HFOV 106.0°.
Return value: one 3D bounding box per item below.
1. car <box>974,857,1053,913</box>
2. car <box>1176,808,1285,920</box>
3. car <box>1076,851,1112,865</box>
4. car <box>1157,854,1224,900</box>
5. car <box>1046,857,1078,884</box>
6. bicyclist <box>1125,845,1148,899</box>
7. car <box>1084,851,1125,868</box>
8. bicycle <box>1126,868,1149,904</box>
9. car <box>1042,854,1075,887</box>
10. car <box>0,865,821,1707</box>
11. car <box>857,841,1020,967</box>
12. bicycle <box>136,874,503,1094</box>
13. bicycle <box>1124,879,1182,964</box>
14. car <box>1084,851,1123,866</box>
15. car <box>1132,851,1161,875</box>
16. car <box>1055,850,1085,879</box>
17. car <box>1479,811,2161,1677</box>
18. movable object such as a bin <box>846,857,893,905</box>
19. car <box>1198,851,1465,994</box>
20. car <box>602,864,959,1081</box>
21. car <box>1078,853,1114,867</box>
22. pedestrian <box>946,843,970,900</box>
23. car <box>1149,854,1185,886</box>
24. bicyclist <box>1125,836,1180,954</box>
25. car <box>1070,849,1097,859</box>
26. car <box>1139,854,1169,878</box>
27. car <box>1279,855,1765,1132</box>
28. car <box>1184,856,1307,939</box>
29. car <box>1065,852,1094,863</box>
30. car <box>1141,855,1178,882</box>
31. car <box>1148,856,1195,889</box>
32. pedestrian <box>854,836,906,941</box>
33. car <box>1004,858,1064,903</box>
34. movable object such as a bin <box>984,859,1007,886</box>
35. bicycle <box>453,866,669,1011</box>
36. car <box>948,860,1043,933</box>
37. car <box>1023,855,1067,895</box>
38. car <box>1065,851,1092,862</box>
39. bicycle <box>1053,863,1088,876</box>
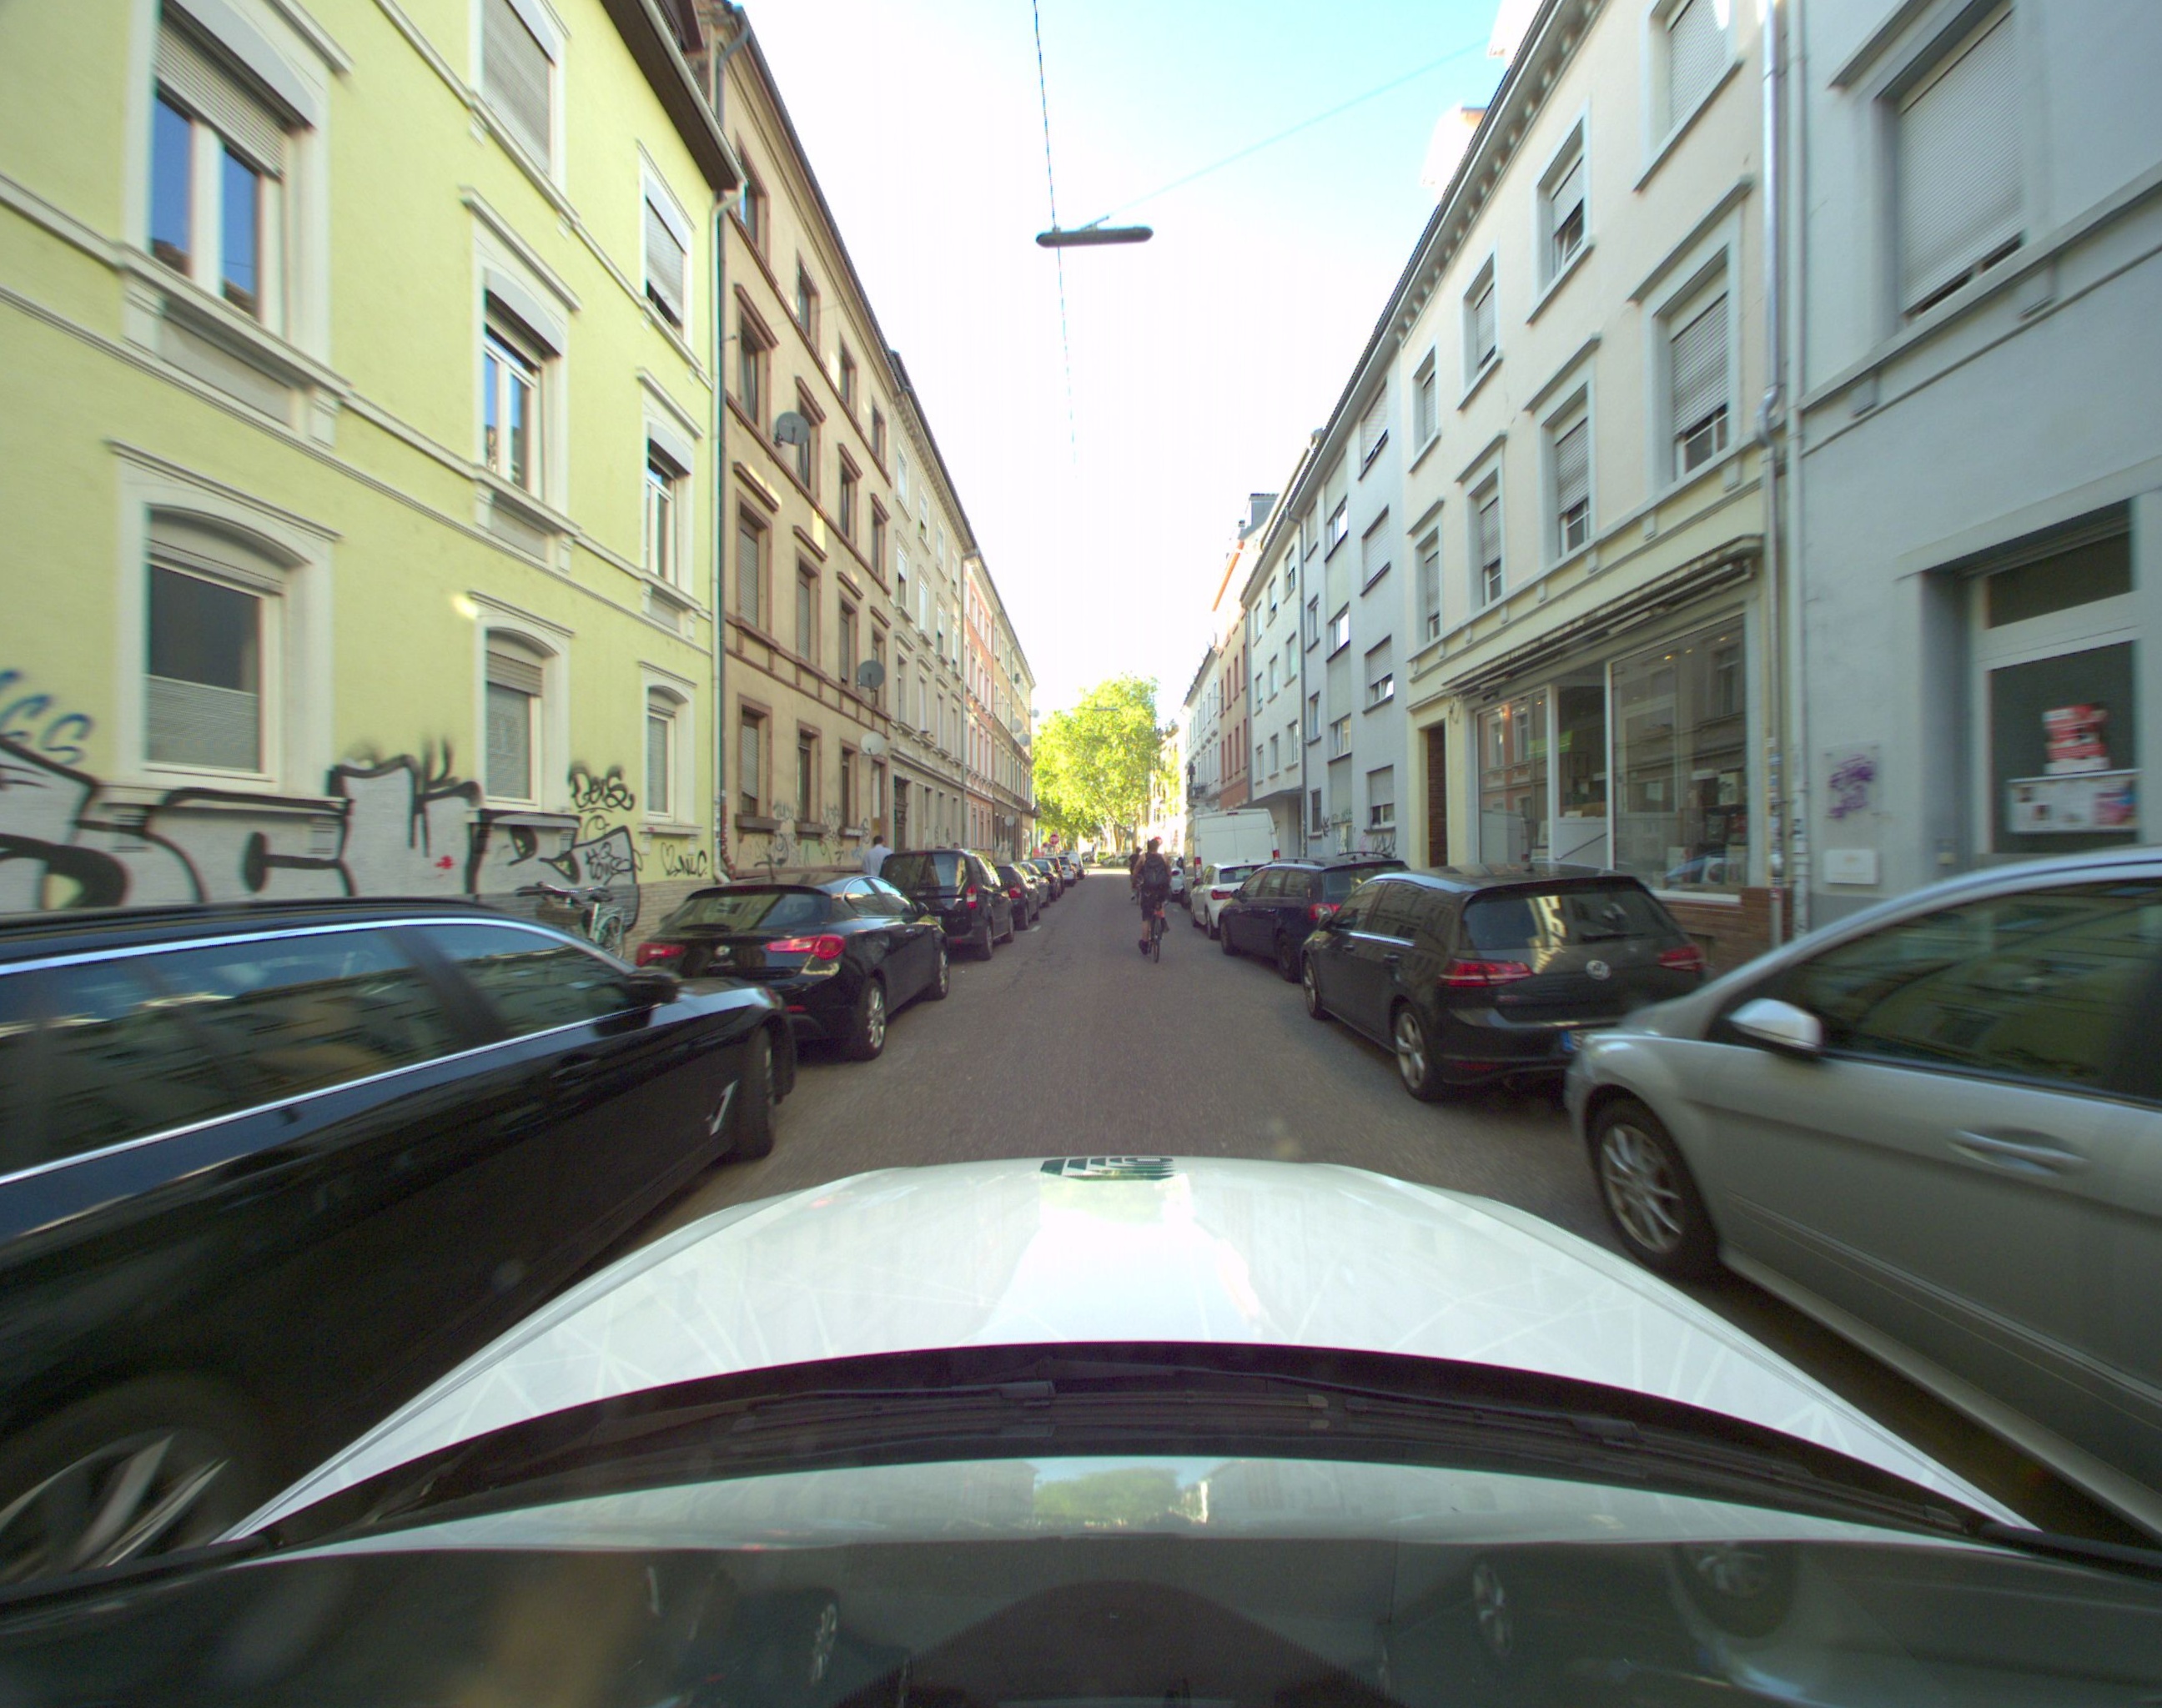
[{"bbox_3d":[-1.867,0.832,23.586,1.666,1.430,3.893,-1,0,4],"label":"car"},{"bbox_3d":[3.811,0.232,21.888,2.194,2.551,6.042,-1,0,4],"label":"car"},{"bbox_3d":[1.629,0.533,104.002,4.458,1.696,1.864,-1,0,-3],"label":"car"},{"bbox_3d":[3.749,0.752,28.422,1.726,1.470,4.020,-1,0,-1],"label":"car"},{"bbox_3d":[-1.021,0.869,44.740,1.547,1.399,3.669,-1,0,1],"label":"car"},{"bbox_3d":[1.735,0.557,25.538,0.667,1.658,0.877,-1,0,2],"label":"bicyclist"},{"bbox_3d":[2.644,0.609,92.622,4.458,1.759,1.864,-1,0,-3],"label":"car"},{"bbox_3d":[1.757,0.990,25.579,0.661,1.037,1.959,-1,0,2],"label":"bicycle"},{"bbox_3d":[-1.119,0.801,40.976,1.540,1.550,3.463,-1,0,-1],"label":"car"},{"bbox_3d":[-2.525,0.825,2.610,1.856,1.440,4.644,-1,0,0],"label":"car"},{"bbox_3d":[-2.192,0.719,13.632,1.794,1.698,4.002,-3,0,2],"label":"car"},{"bbox_3d":[-5.335,0.807,5.954,0.671,1.271,2.087,0,0,2],"label":"bicycle"},{"bbox_3d":[1.051,0.964,12.305,0.737,1.100,2.043,1,0,2],"label":"bicycle"},{"bbox_3d":[2.669,0.534,97.383,4.458,1.696,1.864,-1,0,-3],"label":"car"},{"bbox_3d":[5.091,0.704,64.000,1.887,1.769,3.999,-1,0,0],"label":"car"},{"bbox_3d":[-0.678,0.664,53.177,1.781,1.737,3.877,-1,0,1],"label":"car"},{"bbox_3d":[2.838,0.694,1.945,1.687,1.608,4.376,-3,0,2],"label":"car"},{"bbox_3d":[-4.895,0.610,18.862,0.786,1.025,0.757,4,0,4],"label":"movable object such as a bin"},{"bbox_3d":[3.185,0.758,11.505,1.810,1.478,4.596,-4,1,-7],"label":"car"},{"bbox_3d":[-2.398,0.852,7.673,1.730,1.427,4.002,-1,0,2],"label":"car"},{"bbox_3d":[1.854,0.763,101.485,4.458,1.696,1.864,-1,0,-3],"label":"car"},{"bbox_3d":[-4.115,0.585,27.227,0.608,1.858,0.754,1,0,1],"label":"pedestrian"},{"bbox_3d":[4.305,0.771,41.215,1.586,1.492,3.878,-1,0,2],"label":"car"},{"bbox_3d":[1.059,0.584,12.248,0.737,1.679,1.117,1,0,1],"label":"bicyclist"},{"bbox_3d":[0.369,0.006,139.093,4.458,1.696,1.864,-1,0,-3],"label":"car"},{"bbox_3d":[4.795,0.781,53.777,1.647,1.530,3.574,-1,0,0],"label":"car"},{"bbox_3d":[2.944,0.776,6.617,1.739,1.485,4.244,-1,0,2],"label":"car"},{"bbox_3d":[3.180,0.778,16.454,1.719,1.429,3.832,-1,0,1],"label":"car"},{"bbox_3d":[-0.252,0.510,130.649,4.458,1.696,1.864,-1,0,-3],"label":"car"},{"bbox_3d":[4.465,0.791,46.673,1.705,1.470,4.000,-1,0,0],"label":"car"},{"bbox_3d":[3.952,0.787,36.128,1.652,1.338,4.000,-1,0,0],"label":"car"},{"bbox_3d":[-3.570,0.600,14.511,0.648,1.817,0.754,1,0,2],"label":"pedestrian"},{"bbox_3d":[-1.571,0.874,28.642,1.699,1.414,4.304,-1,0,2],"label":"car"},{"bbox_3d":[-3.806,0.820,36.291,0.831,1.126,0.716,-6,-1,4],"label":"movable object such as a bin"},{"bbox_3d":[-5.275,0.777,8.509,0.665,1.245,2.328,2,0,1],"label":"bicycle"},{"bbox_3d":[-1.844,0.882,18.605,1.585,1.440,3.656,-1,0,3],"label":"car"},{"bbox_3d":[-1.453,0.820,33.603,1.599,1.530,3.379,-2,0,0],"label":"car"},{"bbox_3d":[-0.413,0.431,132.896,4.458,1.696,1.864,-1,0,-3],"label":"car"},{"bbox_3d":[-0.798,1.208,62.691,2.707,0.892,0.618,-1,0,-1],"label":"bicycle"}]
